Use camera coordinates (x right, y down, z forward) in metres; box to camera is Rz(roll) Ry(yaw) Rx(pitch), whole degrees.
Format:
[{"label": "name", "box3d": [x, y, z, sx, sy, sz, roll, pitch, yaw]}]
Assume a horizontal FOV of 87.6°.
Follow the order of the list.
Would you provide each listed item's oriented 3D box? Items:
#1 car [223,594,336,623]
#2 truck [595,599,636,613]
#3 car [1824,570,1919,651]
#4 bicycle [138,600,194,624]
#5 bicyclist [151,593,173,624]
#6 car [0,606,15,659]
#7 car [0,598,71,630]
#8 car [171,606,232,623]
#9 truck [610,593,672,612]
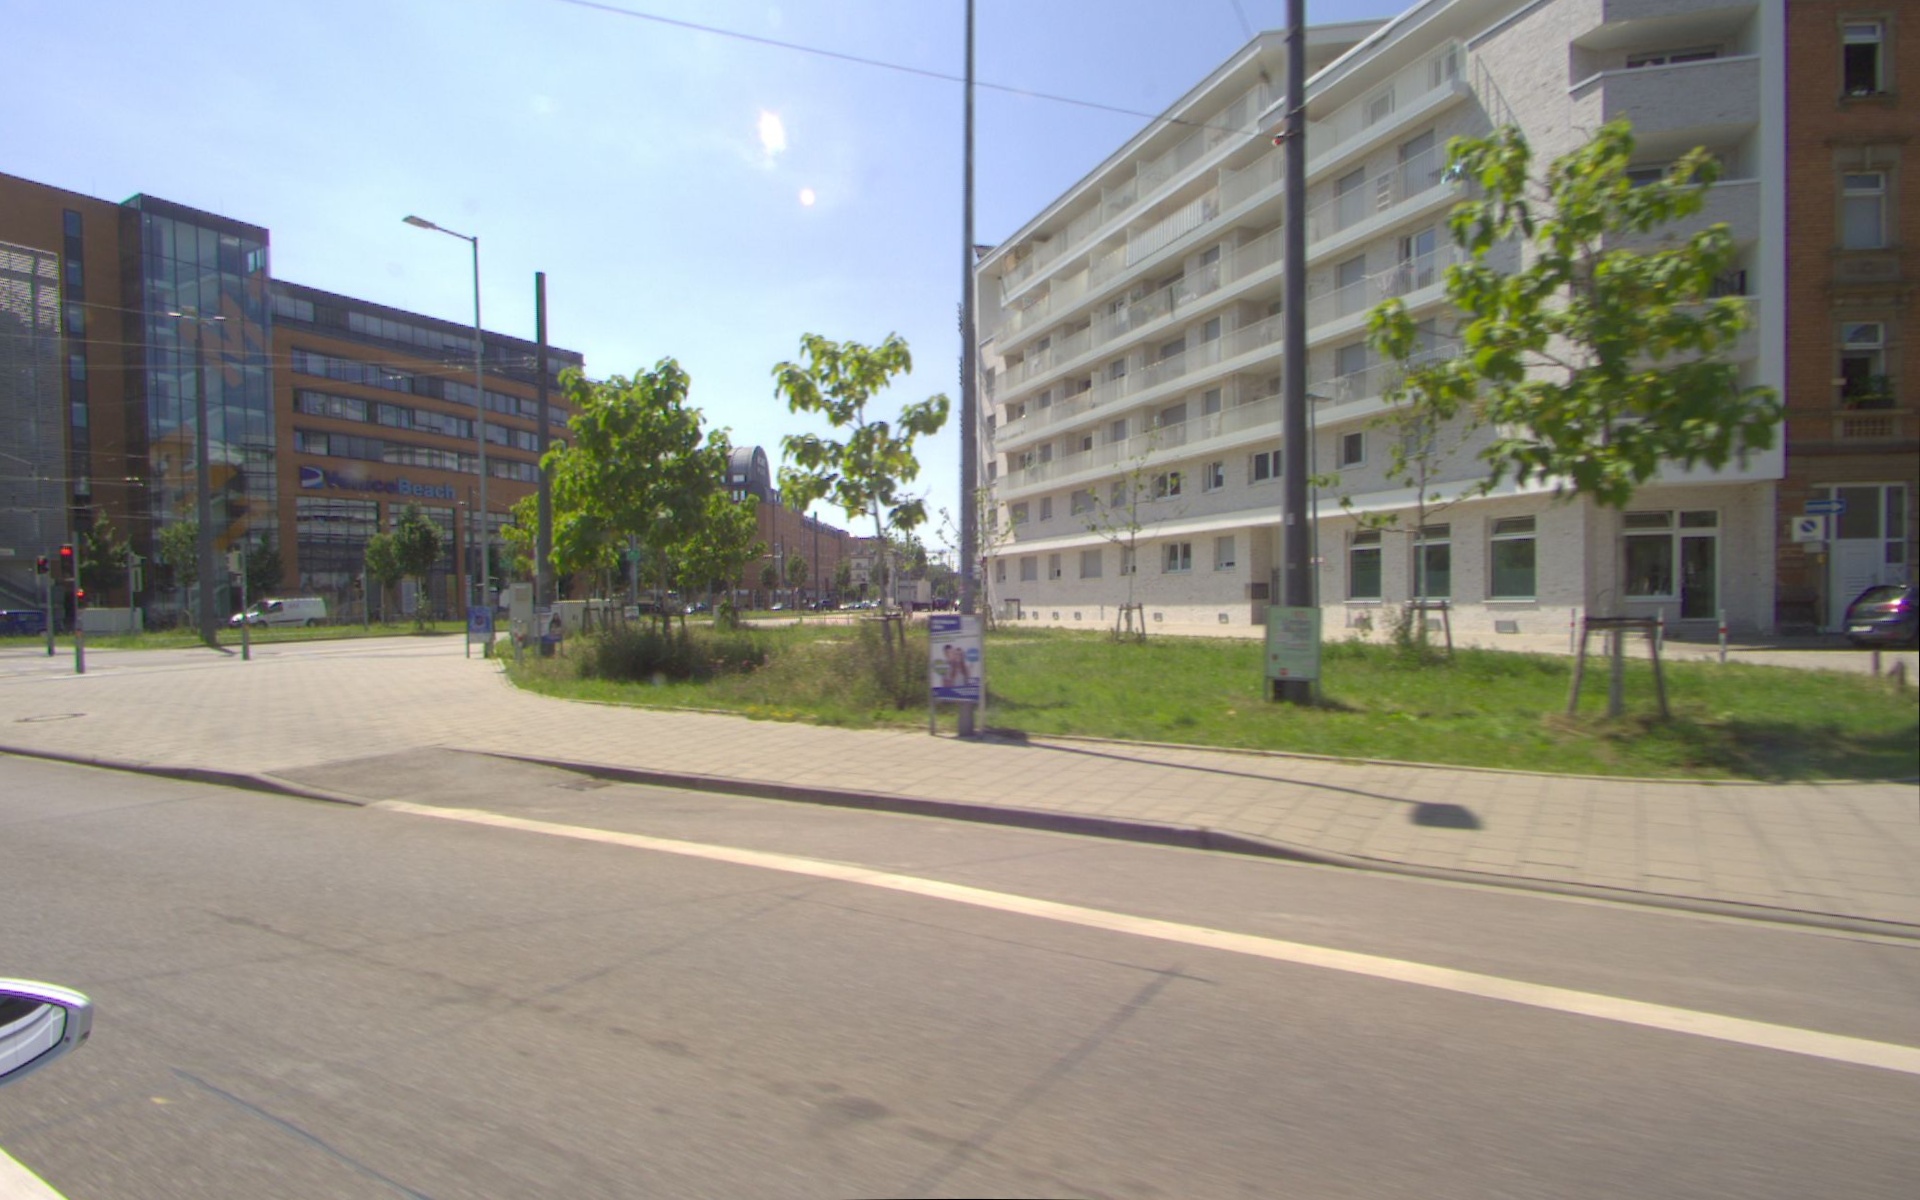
[{"label": "car", "box3d": [-41.315, 0.513, 60.967, 1.967, 1.690, 5.464, 0, 0, 25]}, {"label": "truck", "box3d": [-49.637, 0.891, 144.310, 5.276, 2.040, 1.882, 1, 0, 5]}, {"label": "car", "box3d": [20.986, 0.229, 21.005, 4.050, 1.646, 1.695, 1, 0, 7]}, {"label": "bicycle", "box3d": [-52.507, 0.781, 66.266, 0.694, 1.578, 2.844, 1, 0, 32]}, {"label": "bicyclist", "box3d": [-52.613, 0.539, 66.032, 0.737, 2.040, 0.910, 1, 0, 32]}, {"label": "car", "box3d": [-29.453, 0.922, 27.941, 1.813, 1.528, 4.125, 0, 0, 26]}, {"label": "car", "box3d": [-46.563, 0.678, 49.147, 1.852, 1.559, 3.984, 0, 0, 28]}, {"label": "car", "box3d": [-50.473, 0.964, 66.661, 1.329, 1.049, 2.992, 0, 0, 27]}, {"label": "truck", "box3d": [-48.746, 0.332, 152.943, 9.063, 2.846, 1.999, 0, 0, 10]}]
